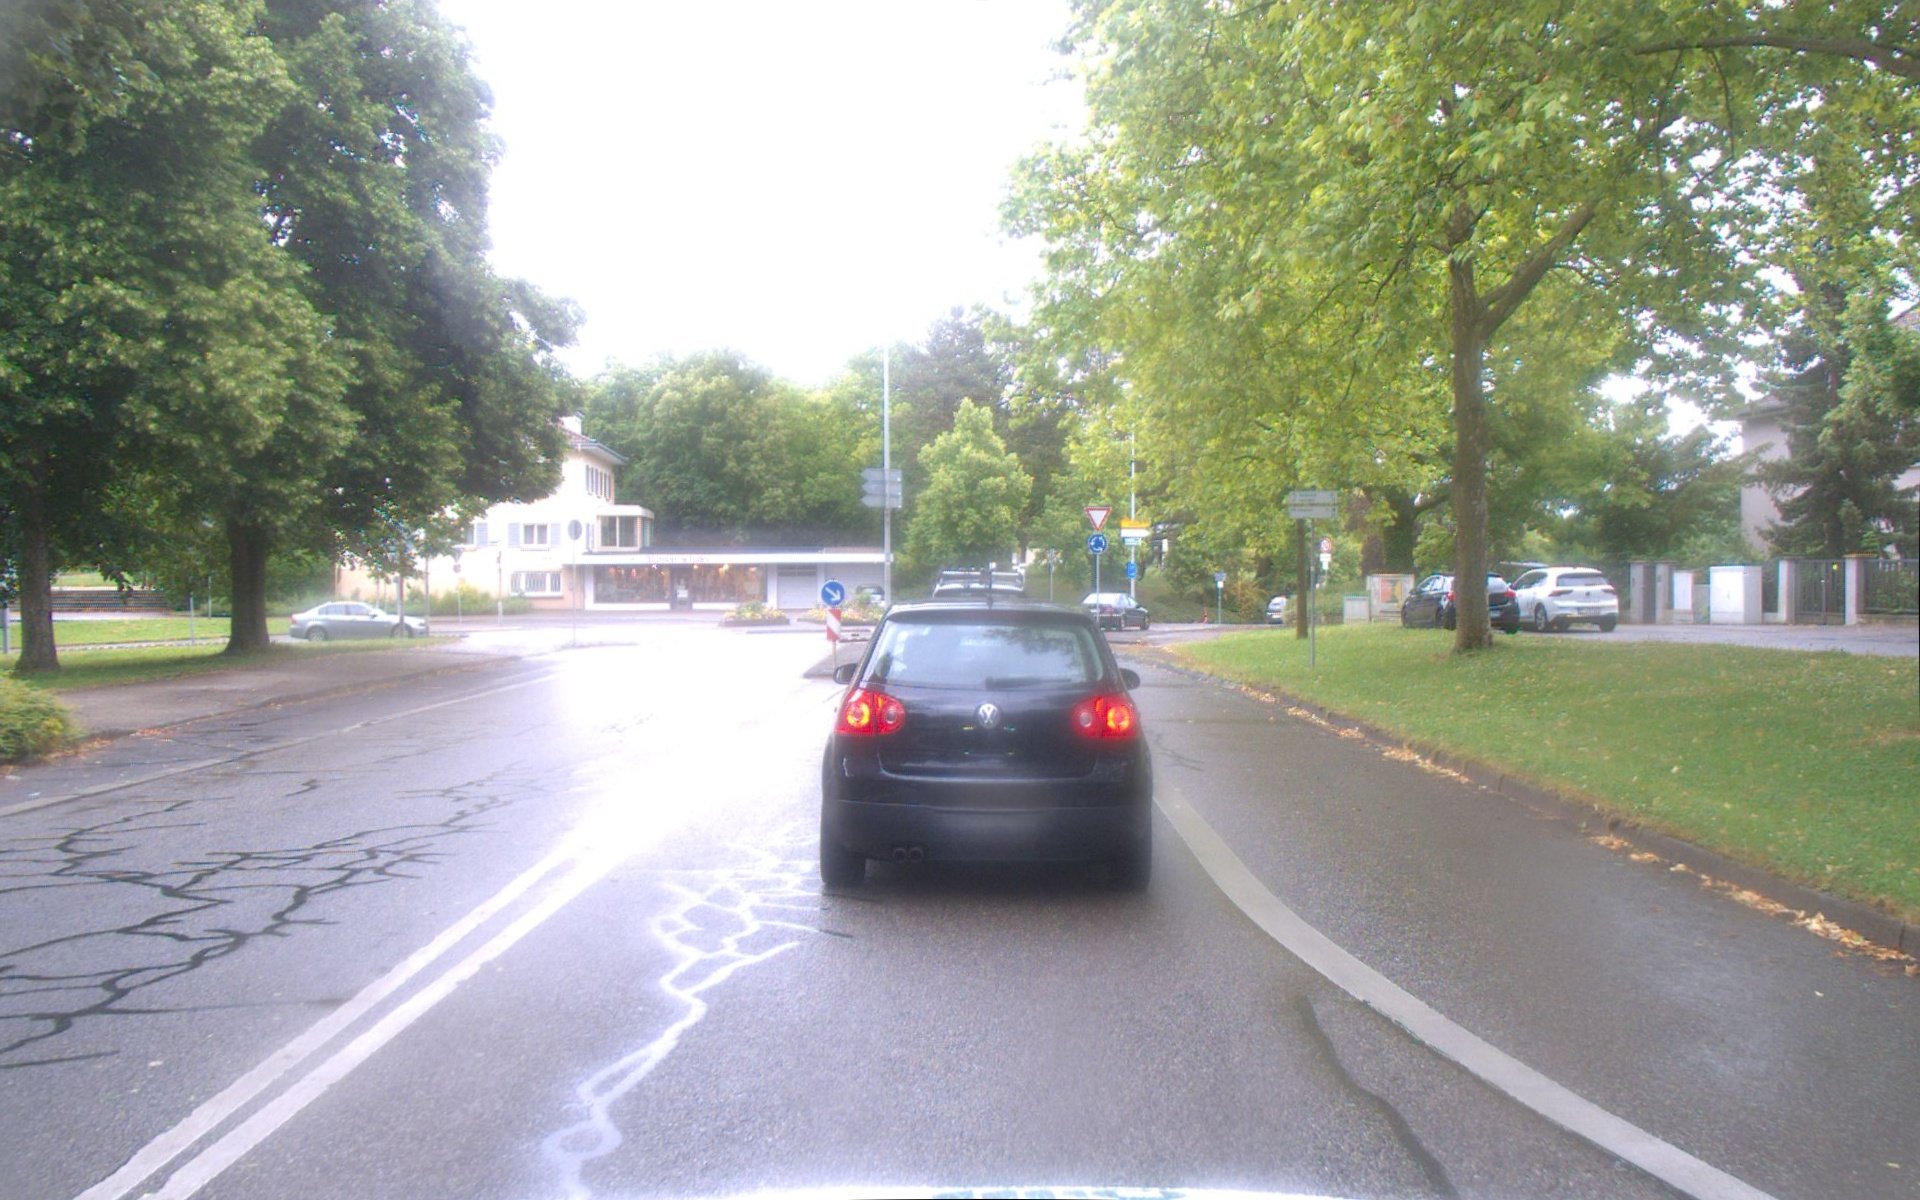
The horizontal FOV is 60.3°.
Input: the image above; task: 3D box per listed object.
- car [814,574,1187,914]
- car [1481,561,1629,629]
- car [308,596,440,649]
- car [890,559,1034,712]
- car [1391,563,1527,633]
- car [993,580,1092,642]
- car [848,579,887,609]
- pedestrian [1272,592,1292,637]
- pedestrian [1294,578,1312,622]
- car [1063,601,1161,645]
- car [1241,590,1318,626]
[{"bbox_3d":[0.155,0.686,9.784,1.729,1.565,3.999,1,0,-1],"label":"car"},{"bbox_3d":[14.226,-0.113,39.796,1.808,1.497,4.424,-2,0,-2],"label":"car"},{"bbox_3d":[-19.887,0.761,56.249,3.949,1.713,1.994,1,0,-12],"label":"car"},{"bbox_3d":[-0.020,0.434,22.323,1.729,1.833,4.245,-1,0,-1],"label":"car"},{"bbox_3d":[11.822,-0.040,39.501,1.729,1.497,4.597,-2,0,-1],"label":"car"},{"bbox_3d":[2.531,0.329,49.794,1.952,1.772,4.145,1,0,18],"label":"car"},{"bbox_3d":[-4.939,-0.324,87.756,1.778,1.512,3.825,-1,1,-7],"label":"car"},{"bbox_3d":[12.707,0.577,65.262,0.519,1.743,0.633,1,0,-14],"label":"pedestrian"},{"bbox_3d":[13.693,-0.008,66.026,0.620,1.743,0.530,1,-1,16],"label":"pedestrian"},{"bbox_3d":[5.632,0.840,60.932,1.959,1.557,3.987,1,0,34],"label":"car"},{"bbox_3d":[14.363,0.368,74.227,1.959,1.557,3.987,1,0,34],"label":"car"}]
